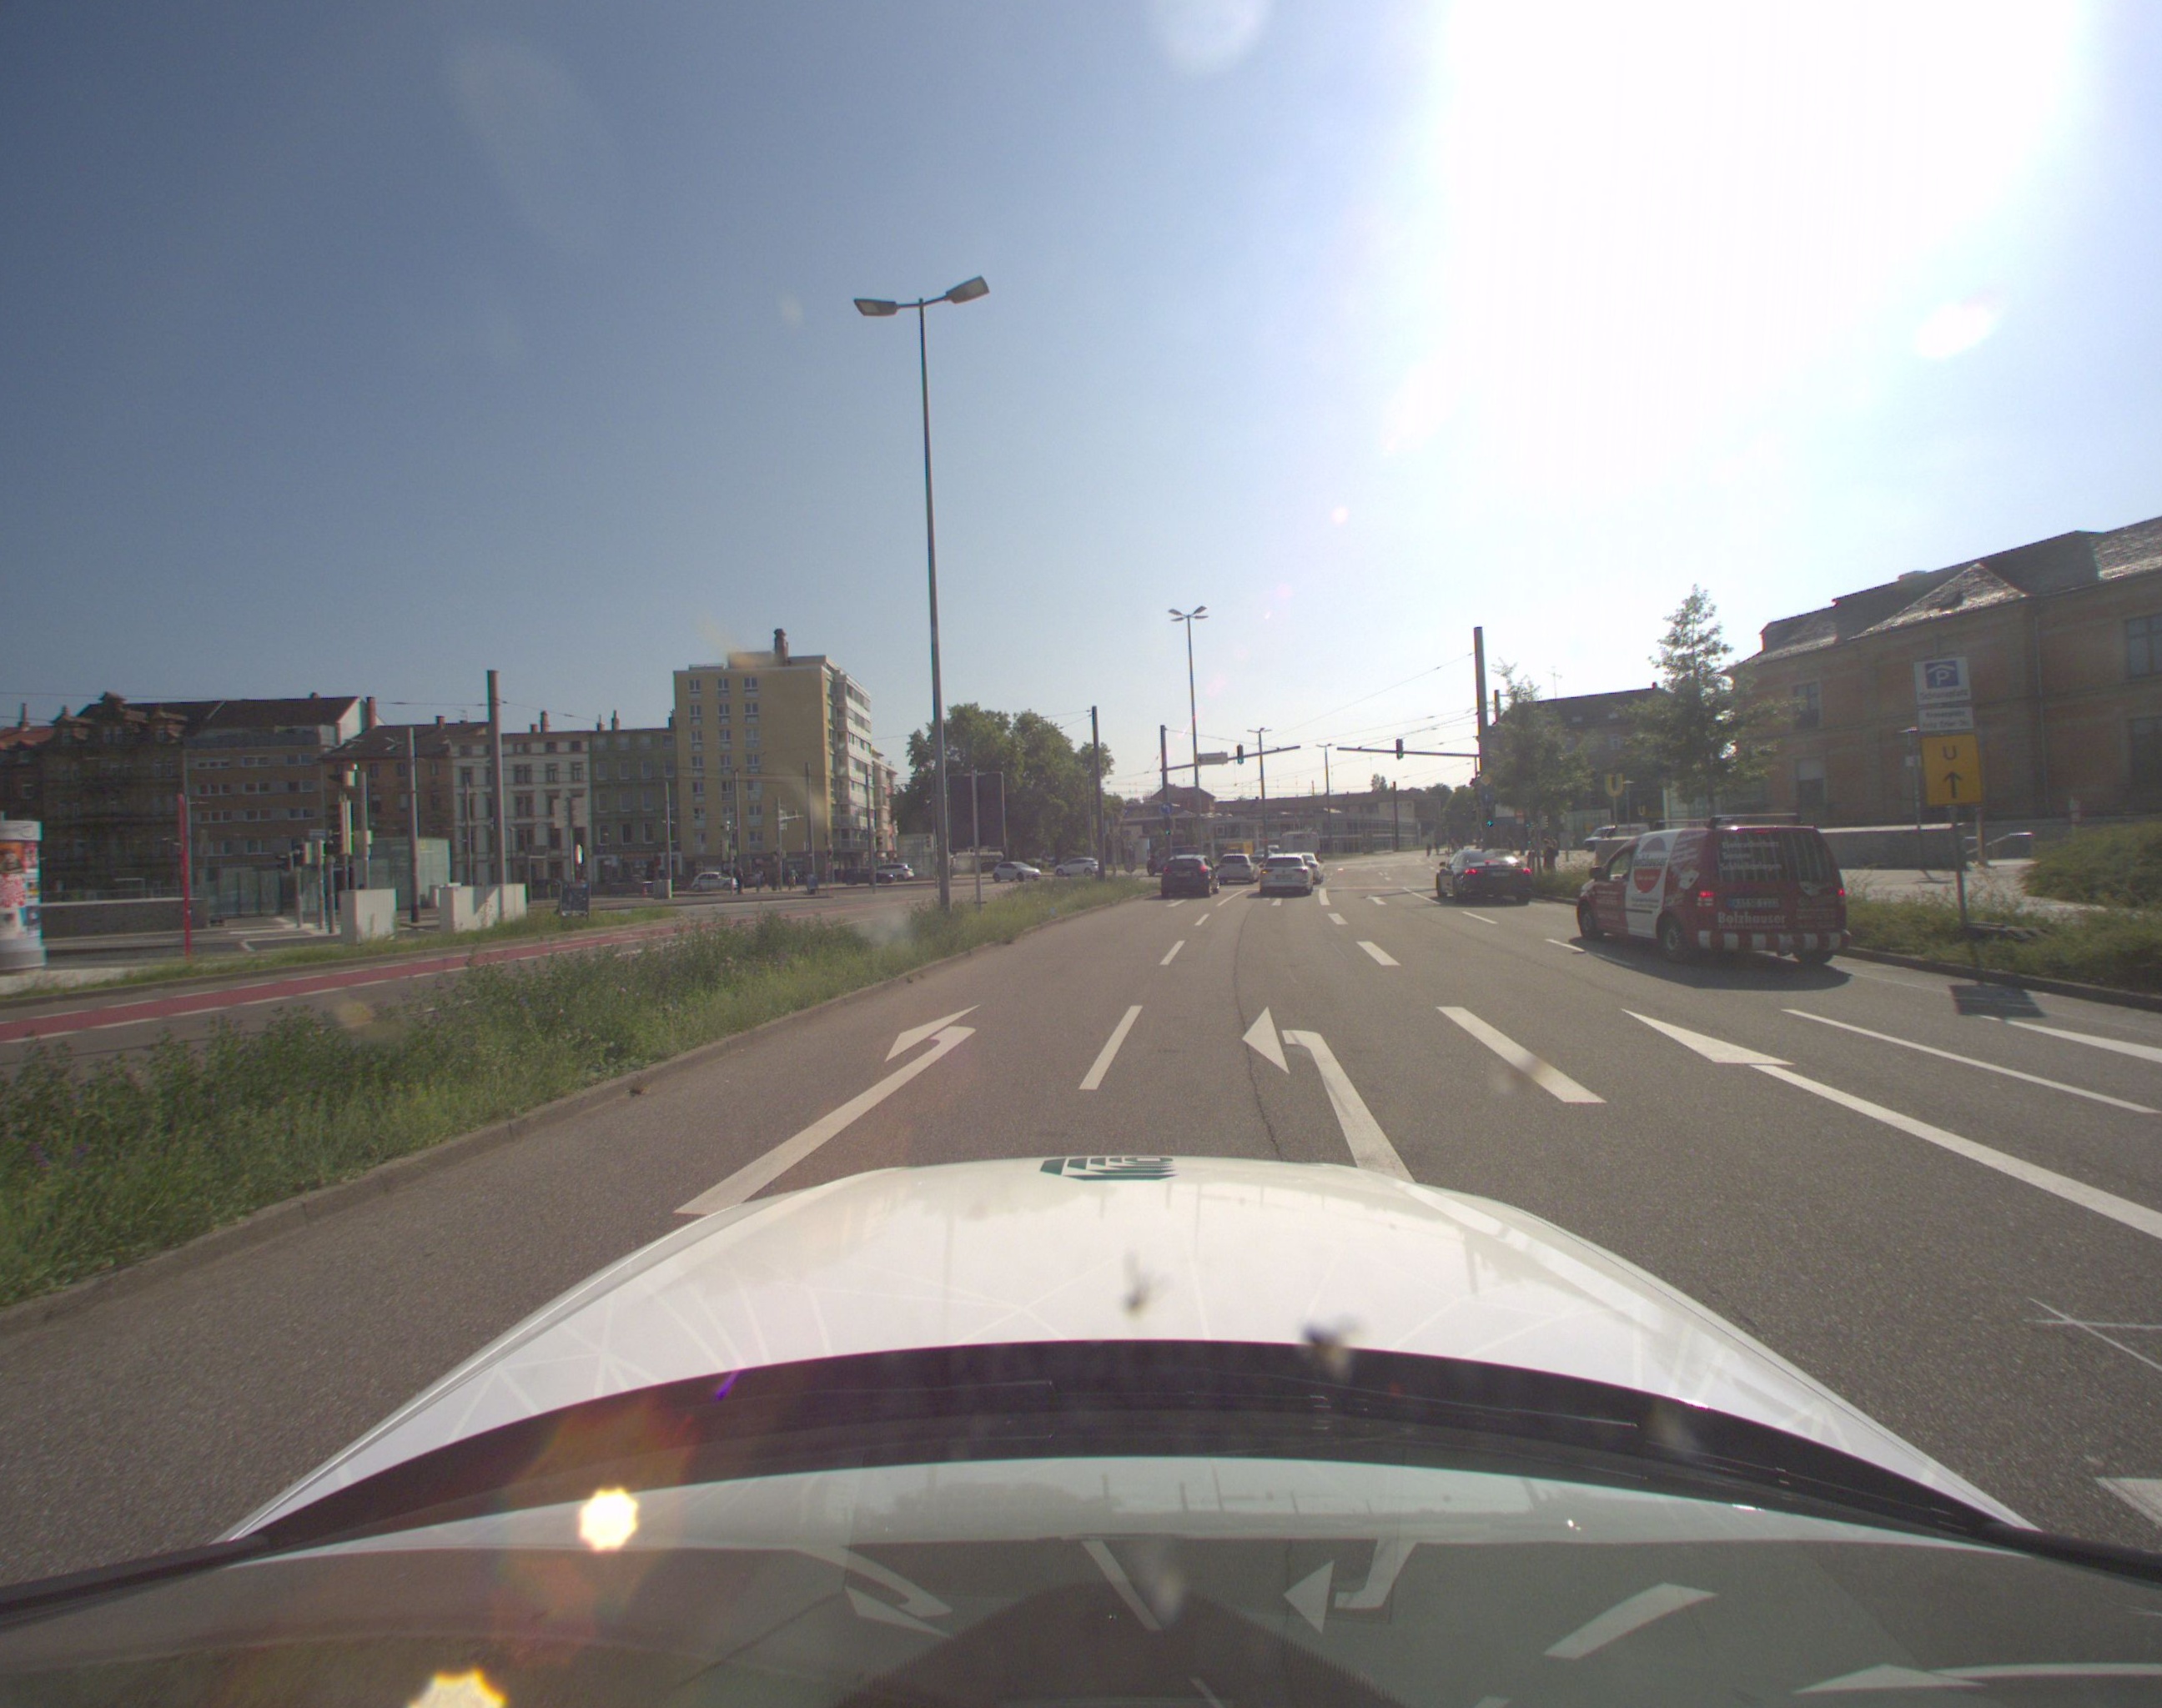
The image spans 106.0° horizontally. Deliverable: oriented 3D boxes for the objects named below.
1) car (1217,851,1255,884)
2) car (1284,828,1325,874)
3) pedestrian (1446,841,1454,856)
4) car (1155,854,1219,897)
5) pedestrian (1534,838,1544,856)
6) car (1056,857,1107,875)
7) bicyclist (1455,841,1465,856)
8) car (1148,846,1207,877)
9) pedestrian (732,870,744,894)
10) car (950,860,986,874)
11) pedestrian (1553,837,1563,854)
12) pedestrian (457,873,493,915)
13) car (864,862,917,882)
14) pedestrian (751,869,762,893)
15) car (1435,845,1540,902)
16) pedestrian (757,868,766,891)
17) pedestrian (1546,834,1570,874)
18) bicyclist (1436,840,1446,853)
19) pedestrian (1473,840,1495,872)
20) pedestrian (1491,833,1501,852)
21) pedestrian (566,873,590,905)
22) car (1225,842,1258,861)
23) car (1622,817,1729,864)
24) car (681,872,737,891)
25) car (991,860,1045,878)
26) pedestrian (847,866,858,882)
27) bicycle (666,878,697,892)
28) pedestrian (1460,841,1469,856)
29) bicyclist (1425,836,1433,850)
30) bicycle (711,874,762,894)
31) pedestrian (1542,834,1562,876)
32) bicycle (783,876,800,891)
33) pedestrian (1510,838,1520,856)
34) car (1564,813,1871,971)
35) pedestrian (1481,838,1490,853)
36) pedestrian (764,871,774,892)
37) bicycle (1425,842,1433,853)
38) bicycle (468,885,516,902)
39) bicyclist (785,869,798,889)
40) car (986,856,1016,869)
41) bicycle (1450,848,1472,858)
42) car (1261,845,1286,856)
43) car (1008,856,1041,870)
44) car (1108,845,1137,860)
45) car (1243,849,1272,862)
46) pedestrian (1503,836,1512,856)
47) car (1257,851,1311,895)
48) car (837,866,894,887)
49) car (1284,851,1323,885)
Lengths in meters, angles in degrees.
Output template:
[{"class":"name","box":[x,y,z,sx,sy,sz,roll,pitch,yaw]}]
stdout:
[{"class":"car","box":[7.511,0.607,39.281,1.478,1.415,3.662,-2,0,15]},{"class":"car","box":[13.368,-0.139,48.793,2.173,2.549,4.702,-2,-1,15]},{"class":"pedestrian","box":[38.600,-0.594,85.203,0.739,1.529,0.811,-3,-1,25]},{"class":"car","box":[3.837,0.731,28.871,1.688,1.368,3.979,-2,-1,15]},{"class":"pedestrian","box":[36.245,-0.572,64.493,0.651,1.360,0.663,-2,2,29]},{"class":"car","box":[0.028,0.991,67.406,3.946,1.373,1.579,-1,2,28]},{"class":"bicyclist","box":[39.832,-0.581,85.629,0.796,1.460,0.753,-3,-1,29]},{"class":"car","box":[6.683,0.540,56.939,2.032,2.008,4.647,-2,0,-23]},{"class":"pedestrian","box":[-24.919,2.016,59.109,0.450,1.684,0.550,-1,2,23]},{"class":"car","box":[-13.400,1.518,96.841,3.976,1.558,1.727,-2,0,-2]},{"class":"pedestrian","box":[38.750,-0.715,66.099,0.651,1.360,0.663,-2,2,29]},{"class":"pedestrian","box":[-30.748,2.000,41.323,0.955,2.013,1.022,-2,2,-1]},{"class":"car","box":[-16.230,1.529,69.599,4.056,1.502,1.630,-2,-1,5]},{"class":"pedestrian","box":[-23.819,2.000,59.841,0.451,1.684,0.549,-2,2,11]},{"class":"car","box":[11.501,0.517,23.380,1.806,1.440,4.894,-2,0,16]},{"class":"pedestrian","box":[-23.935,1.904,61.033,0.458,1.684,0.435,-4,3,-40]},{"class":"pedestrian","box":[19.555,0.003,33.386,0.612,1.628,0.534,-3,-1,1]},{"class":"bicyclist","box":[43.527,-0.912,98.544,0.764,1.578,0.997,-2,-1,40]},{"class":"pedestrian","box":[17.703,0.095,35.765,0.632,1.362,0.635,-3,0,8]},{"class":"pedestrian","box":[42.131,-1.167,82.683,0.796,1.889,0.753,-3,-1,25]},{"class":"pedestrian","box":[-28.825,1.990,46.661,0.774,1.786,0.856,-1,2,-4]},{"class":"car","box":[18.483,-0.315,93.589,1.974,2.013,4.694,-3,-1,33]},{"class":"car","box":[28.131,-0.651,38.566,3.984,2.013,1.750,-3,2,-7]},{"class":"car","box":[-30.319,2.247,66.414,3.726,1.393,1.586,-2,0,-1]},{"class":"car","box":[-4.652,1.120,60.134,3.792,1.180,1.586,-3,-1,37]},{"class":"pedestrian","box":[-23.216,2.037,82.780,0.849,1.621,0.541,-2,-1,-5]},{"class":"bicycle","box":[-36.844,2.878,75.142,2.462,1.115,0.732,-4,2,-30]},{"class":"pedestrian","box":[39.506,-0.577,83.858,0.739,1.529,0.811,-3,-1,25]},{"class":"bicyclist","box":[36.890,-1.172,86.415,0.706,1.529,0.811,-3,-1,25]},{"class":"bicycle","box":[-31.508,2.752,74.553,3.978,1.551,1.195,-2,2,-3]},{"class":"pedestrian","box":[18.742,0.056,32.404,0.608,1.639,0.537,-3,-1,32]},{"class":"bicycle","box":[-21.609,2.202,60.837,0.726,0.984,1.729,-2,0,-5]},{"class":"pedestrian","box":[38.923,-0.641,73.038,0.739,1.529,0.811,-3,-1,25]},{"class":"car","box":[8.746,0.459,11.741,1.720,1.819,4.292,-3,0,12]},{"class":"pedestrian","box":[41.489,-0.843,83.477,0.739,1.529,0.811,-3,-1,25]},{"class":"pedestrian","box":[-23.559,2.063,61.460,0.501,1.487,0.435,-4,3,-40]},{"class":"bicycle","box":[36.888,-0.689,86.375,0.699,1.061,1.994,-3,0,25]},{"class":"bicycle","box":[-53.369,3.584,73.811,3.521,1.347,0.773,-2,2,-3]},{"class":"bicyclist","box":[-21.621,1.866,60.806,0.724,1.434,0.689,-2,-1,-5]},{"class":"car","box":[-10.843,1.141,110.477,3.976,1.558,1.727,-2,0,-2]},{"class":"bicycle","box":[39.921,-0.089,85.591,2.032,0.894,0.751,-3,-1,29]},{"class":"car","box":[24.411,-0.428,103.056,1.876,1.280,4.158,-3,0,32]},{"class":"car","box":[-7.028,1.084,101.824,3.976,1.558,1.727,-2,0,-2]},{"class":"car","box":[6.068,-0.253,119.843,3.962,2.013,2.006,-2,2,9]},{"class":"car","box":[19.574,0.191,90.096,1.876,1.324,4.158,-3,0,30]},{"class":"pedestrian","box":[44.383,-0.796,84.735,0.739,2.013,0.811,-3,-1,25]},{"class":"car","box":[7.095,0.634,28.639,1.673,1.387,3.646,-2,-1,12]},{"class":"car","box":[-16.903,1.740,63.970,4.030,1.399,1.585,-2,0,-4]},{"class":"car","box":[10.203,0.625,37.512,1.479,1.403,3.956,-2,-1,12]}]
